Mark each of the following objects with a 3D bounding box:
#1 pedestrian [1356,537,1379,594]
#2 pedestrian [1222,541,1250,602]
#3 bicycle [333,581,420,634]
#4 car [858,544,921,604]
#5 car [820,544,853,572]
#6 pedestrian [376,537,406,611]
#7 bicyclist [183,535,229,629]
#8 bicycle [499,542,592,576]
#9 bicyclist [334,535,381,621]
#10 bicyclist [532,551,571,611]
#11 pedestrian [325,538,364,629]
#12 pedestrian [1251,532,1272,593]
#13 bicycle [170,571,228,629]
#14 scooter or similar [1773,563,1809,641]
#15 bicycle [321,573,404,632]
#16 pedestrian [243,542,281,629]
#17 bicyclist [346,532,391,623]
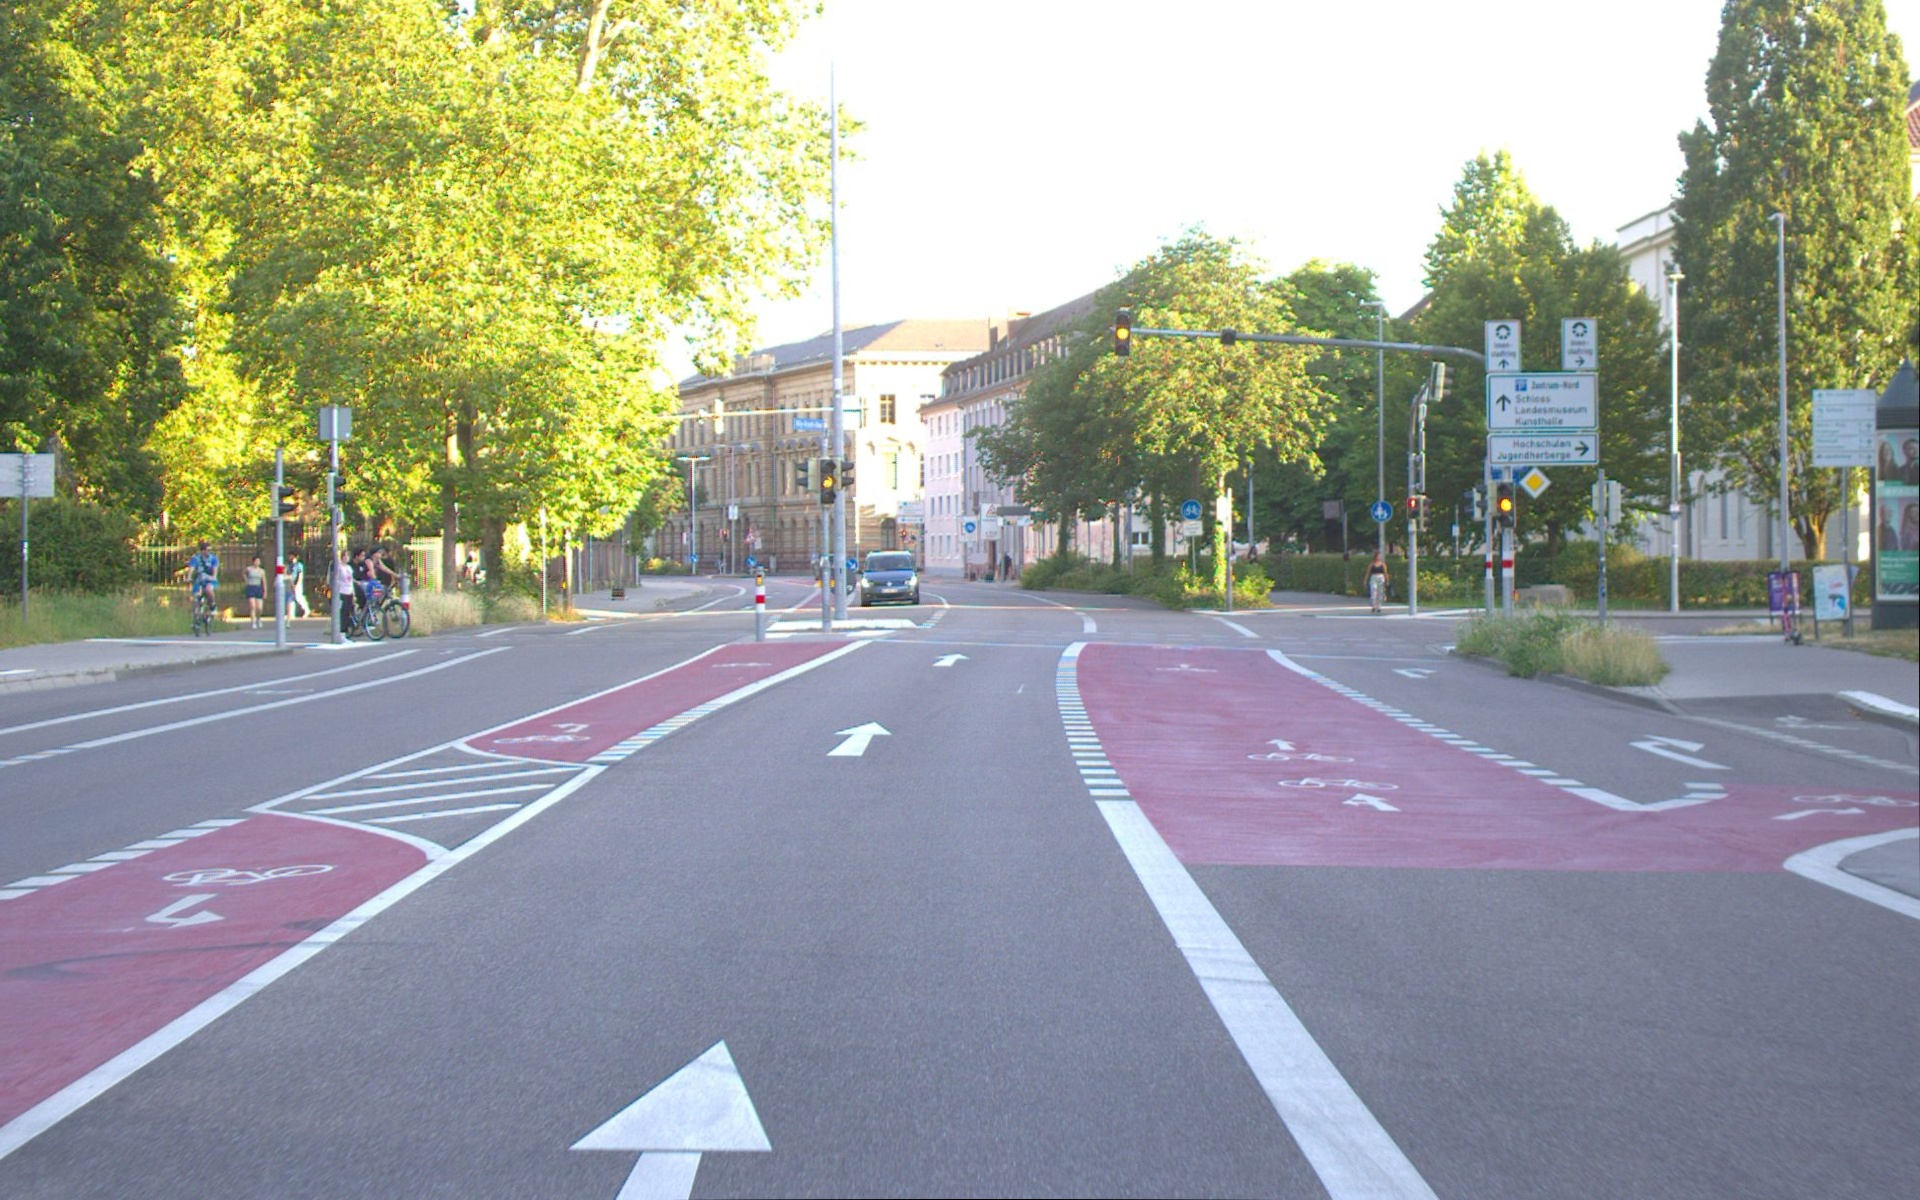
[{"bbox_3d":[11.744,-0.987,99.006,0.599,1.630,0.691,1,1,4],"label":"pedestrian"},{"bbox_3d":[9.189,-0.947,114.463,0.870,2.007,0.722,1,1,2],"label":"pedestrian"},{"bbox_3d":[-11.495,0.139,67.735,1.769,1.026,0.578,0,1,33],"label":"bicycle"},{"bbox_3d":[-2.173,-0.800,105.232,1.849,1.714,4.296,-2,1,-1],"label":"car"},{"bbox_3d":[-7.231,-2.446,201.833,1.819,1.583,4.000,-1,1,-1],"label":"car"},{"bbox_3d":[-15.603,-0.714,94.289,0.640,2.007,0.701,0,1,4],"label":"pedestrian"},{"bbox_3d":[-14.703,-0.353,67.022,0.735,1.817,0.712,0,0,0],"label":"bicyclist"},{"bbox_3d":[-11.383,-1.133,94.472,2.430,0.921,0.775,0,1,3],"label":"bicycle"},{"bbox_3d":[-11.605,-0.423,66.217,0.638,1.644,0.629,0,1,33],"label":"bicyclist"},{"bbox_3d":[-11.216,-0.524,94.476,0.958,1.625,0.753,0,1,3],"label":"bicyclist"},{"bbox_3d":[-11.446,-0.310,63.981,0.607,1.690,0.498,0,1,4],"label":"pedestrian"},{"bbox_3d":[10.047,-1.251,114.671,0.635,2.007,0.720,1,1,2],"label":"pedestrian"},{"bbox_3d":[-14.861,-0.017,67.179,0.770,1.097,2.123,0,1,-4],"label":"bicycle"},{"bbox_3d":[13.356,0.029,55.289,0.311,1.227,1.311,0,1,2],"label":"scooter or similar"},{"bbox_3d":[-11.506,0.045,66.156,1.566,1.107,0.632,0,1,33],"label":"bicycle"},{"bbox_3d":[-16.283,-0.343,80.213,0.649,2.007,0.606,0,1,-36],"label":"pedestrian"},{"bbox_3d":[-11.668,-0.447,67.845,0.638,1.774,0.575,0,1,33],"label":"bicyclist"}]
